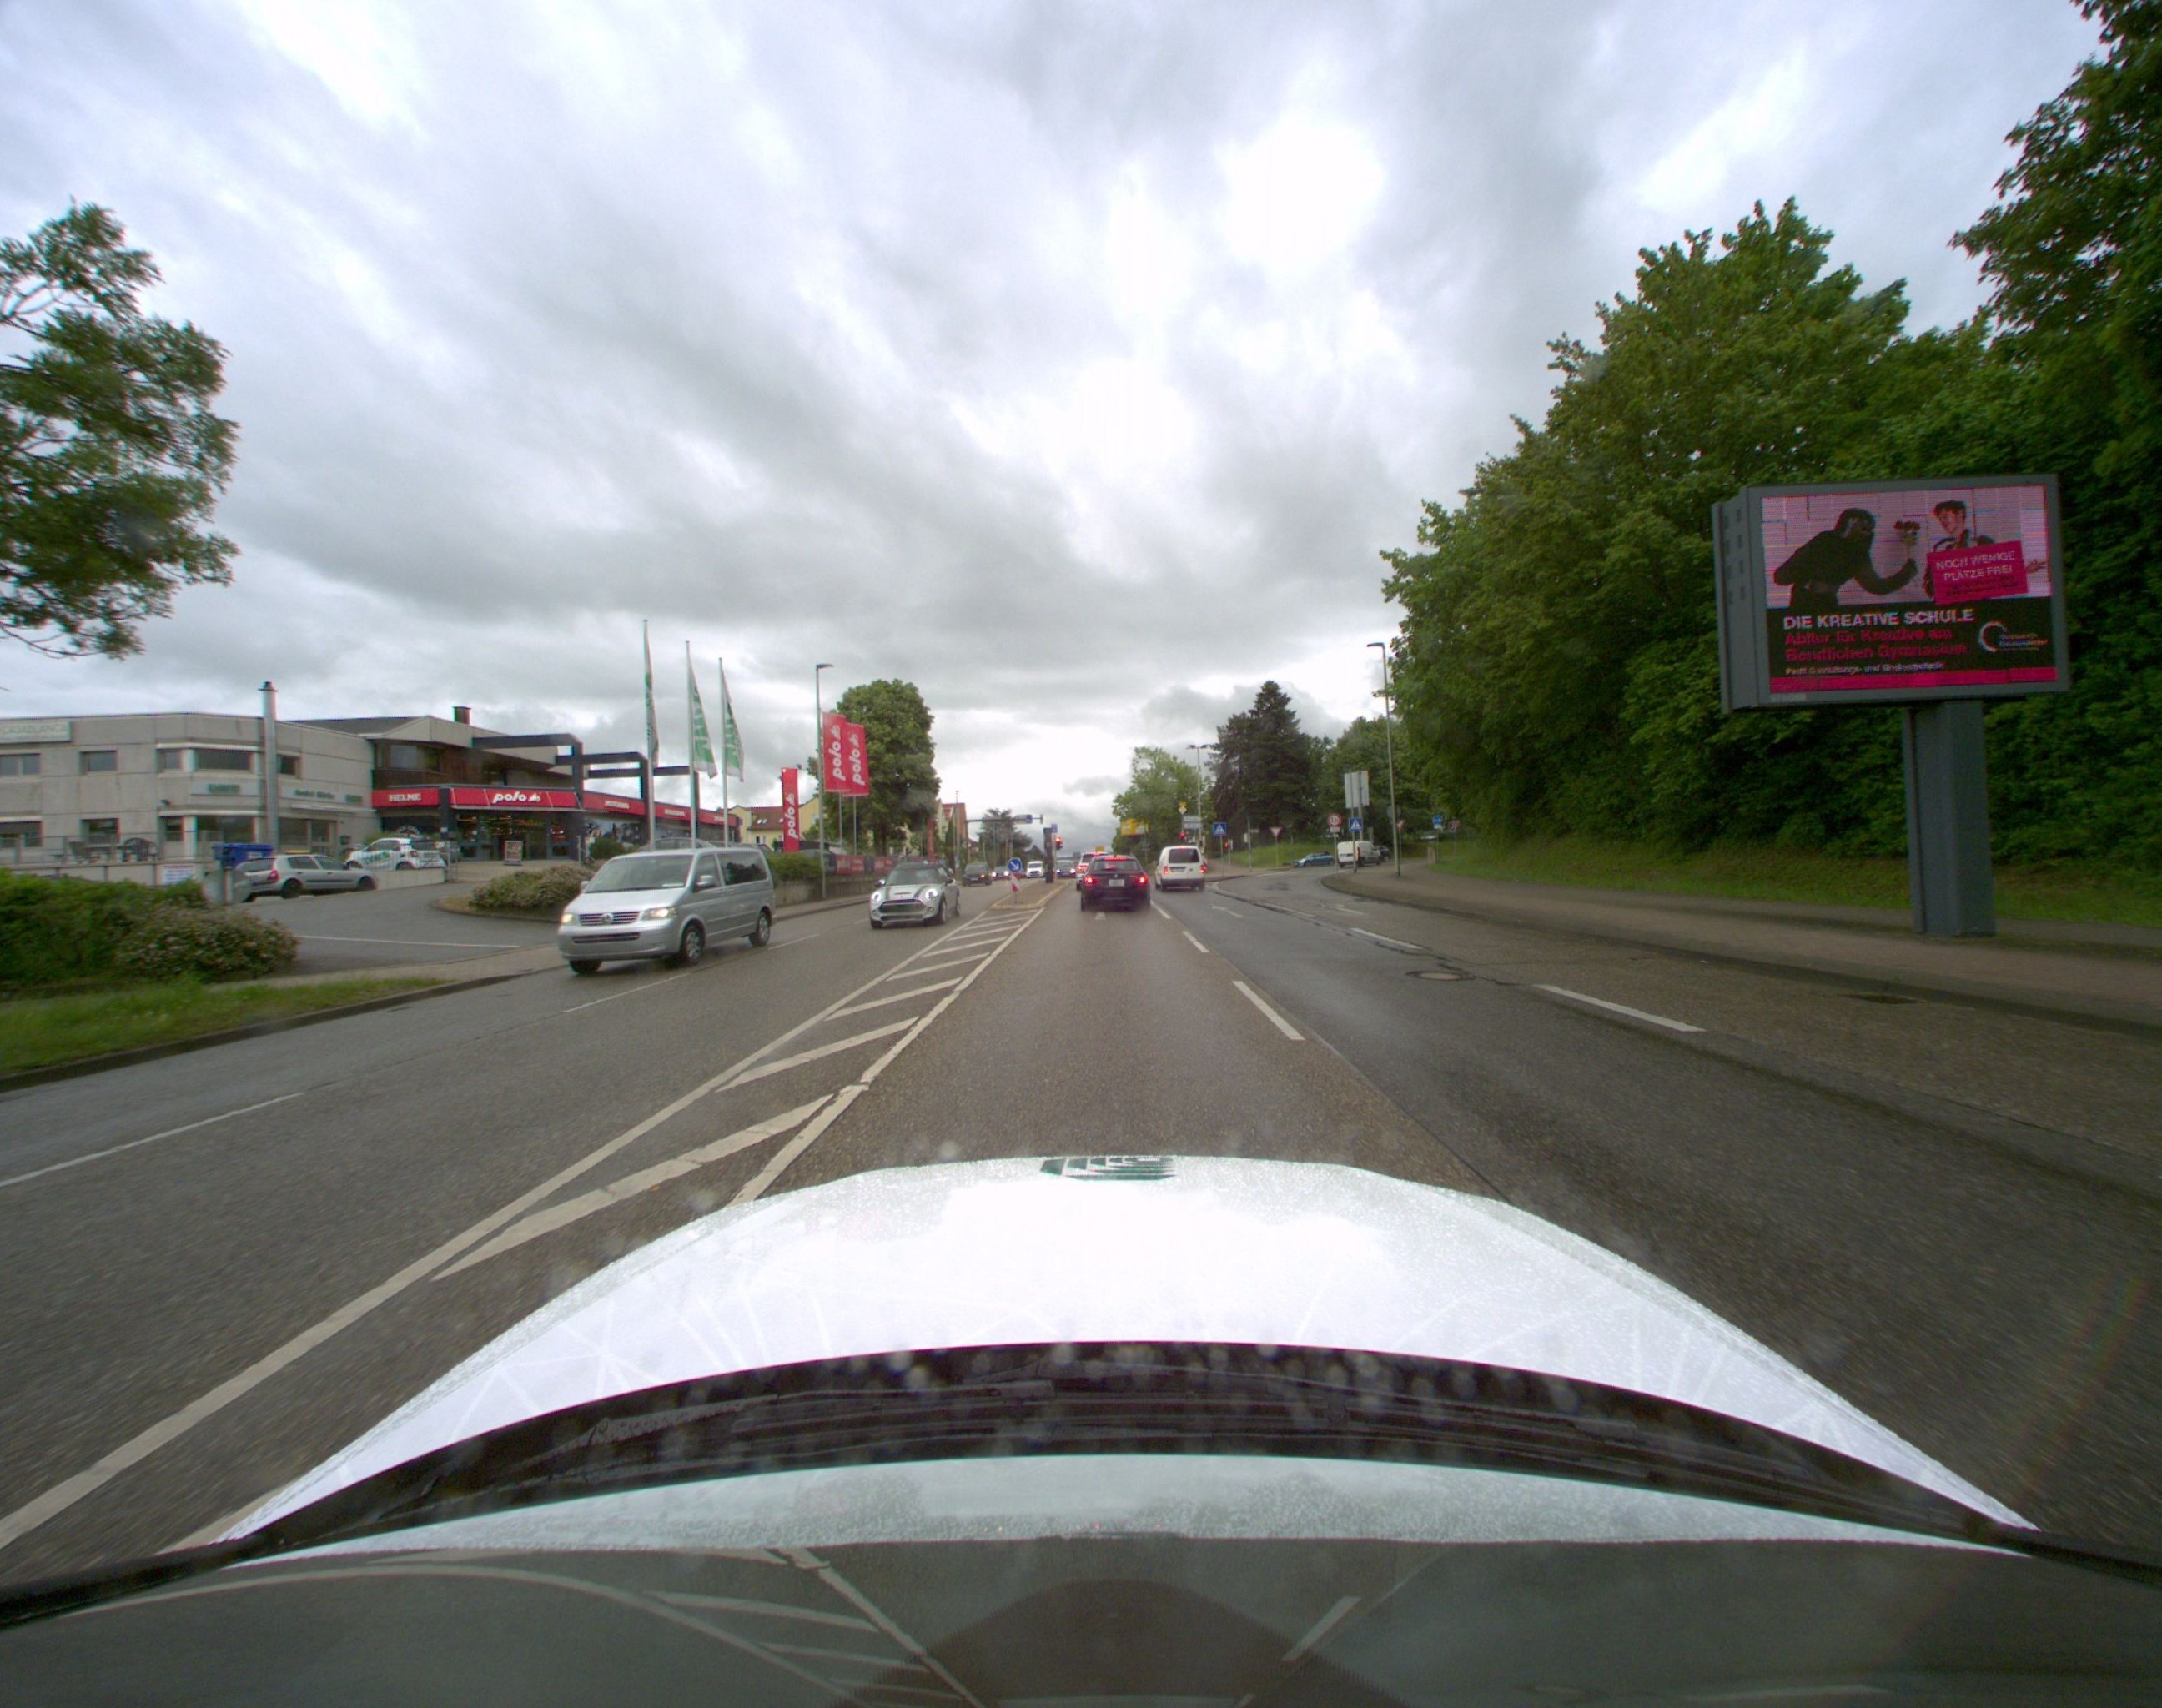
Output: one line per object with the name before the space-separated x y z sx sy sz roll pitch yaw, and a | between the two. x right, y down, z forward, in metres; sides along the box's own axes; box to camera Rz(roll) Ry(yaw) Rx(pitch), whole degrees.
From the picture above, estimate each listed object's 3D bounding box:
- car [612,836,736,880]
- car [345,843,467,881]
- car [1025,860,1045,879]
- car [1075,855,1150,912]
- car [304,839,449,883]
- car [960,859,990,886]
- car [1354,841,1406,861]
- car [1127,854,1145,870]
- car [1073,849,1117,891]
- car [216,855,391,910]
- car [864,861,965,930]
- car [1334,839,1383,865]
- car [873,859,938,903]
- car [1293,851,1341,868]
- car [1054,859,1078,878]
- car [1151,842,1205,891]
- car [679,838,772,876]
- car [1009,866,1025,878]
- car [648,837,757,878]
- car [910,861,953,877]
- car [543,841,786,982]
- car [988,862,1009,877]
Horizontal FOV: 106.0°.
car | -15.549 0.146 31.283 3.822 1.482 1.738 -3 0 -6
car | -30.485 0.337 36.852 3.972 1.512 1.876 -3 0 3
car | -4.879 1.639 86.932 1.852 1.823 4.578 -4 -1 -1
car | 0.924 0.754 22.577 1.847 1.419 3.960 -1 0 4
car | -27.342 0.258 31.724 3.819 1.482 1.872 -3 0 -4
car | -7.346 1.261 56.854 1.753 1.677 4.142 -4 0 -4
car | 26.334 -0.255 71.655 4.342 1.467 1.883 -3 0 -29
car | 5.442 0.769 80.785 1.594 1.371 3.683 -3 1 3
car | 0.674 0.697 36.694 1.720 1.711 3.387 -1 1 4
car | -24.944 0.865 26.350 1.668 1.512 4.004 -4 0 1
car | -4.025 0.951 20.278 1.662 1.398 3.998 -4 0 -1
car | 20.023 -0.162 58.740 1.797 1.708 3.970 -2 1 44
car | -7.482 1.101 35.210 1.746 1.610 4.531 -4 0 -1
car | 21.497 0.507 74.204 3.997 1.294 1.599 -4 1 -17
car | -1.324 1.240 68.303 1.890 1.456 4.093 -3 -1 -2
car | 3.973 0.469 33.789 1.736 1.869 3.945 -1 0 0
car | -15.998 0.127 36.784 3.404 1.509 1.582 -3 0 0
car | -8.391 2.383 107.316 1.662 1.382 4.072 -3 0 1
car | -15.584 0.120 33.703 3.643 1.482 1.738 -3 0 -6
car | -16.048 1.642 87.499 4.216 1.456 1.785 -3 0 -27
car | -7.091 0.852 14.586 1.791 1.982 4.896 -4 0 -1
car | -8.314 1.546 81.955 1.629 1.381 3.764 -4 0 0
